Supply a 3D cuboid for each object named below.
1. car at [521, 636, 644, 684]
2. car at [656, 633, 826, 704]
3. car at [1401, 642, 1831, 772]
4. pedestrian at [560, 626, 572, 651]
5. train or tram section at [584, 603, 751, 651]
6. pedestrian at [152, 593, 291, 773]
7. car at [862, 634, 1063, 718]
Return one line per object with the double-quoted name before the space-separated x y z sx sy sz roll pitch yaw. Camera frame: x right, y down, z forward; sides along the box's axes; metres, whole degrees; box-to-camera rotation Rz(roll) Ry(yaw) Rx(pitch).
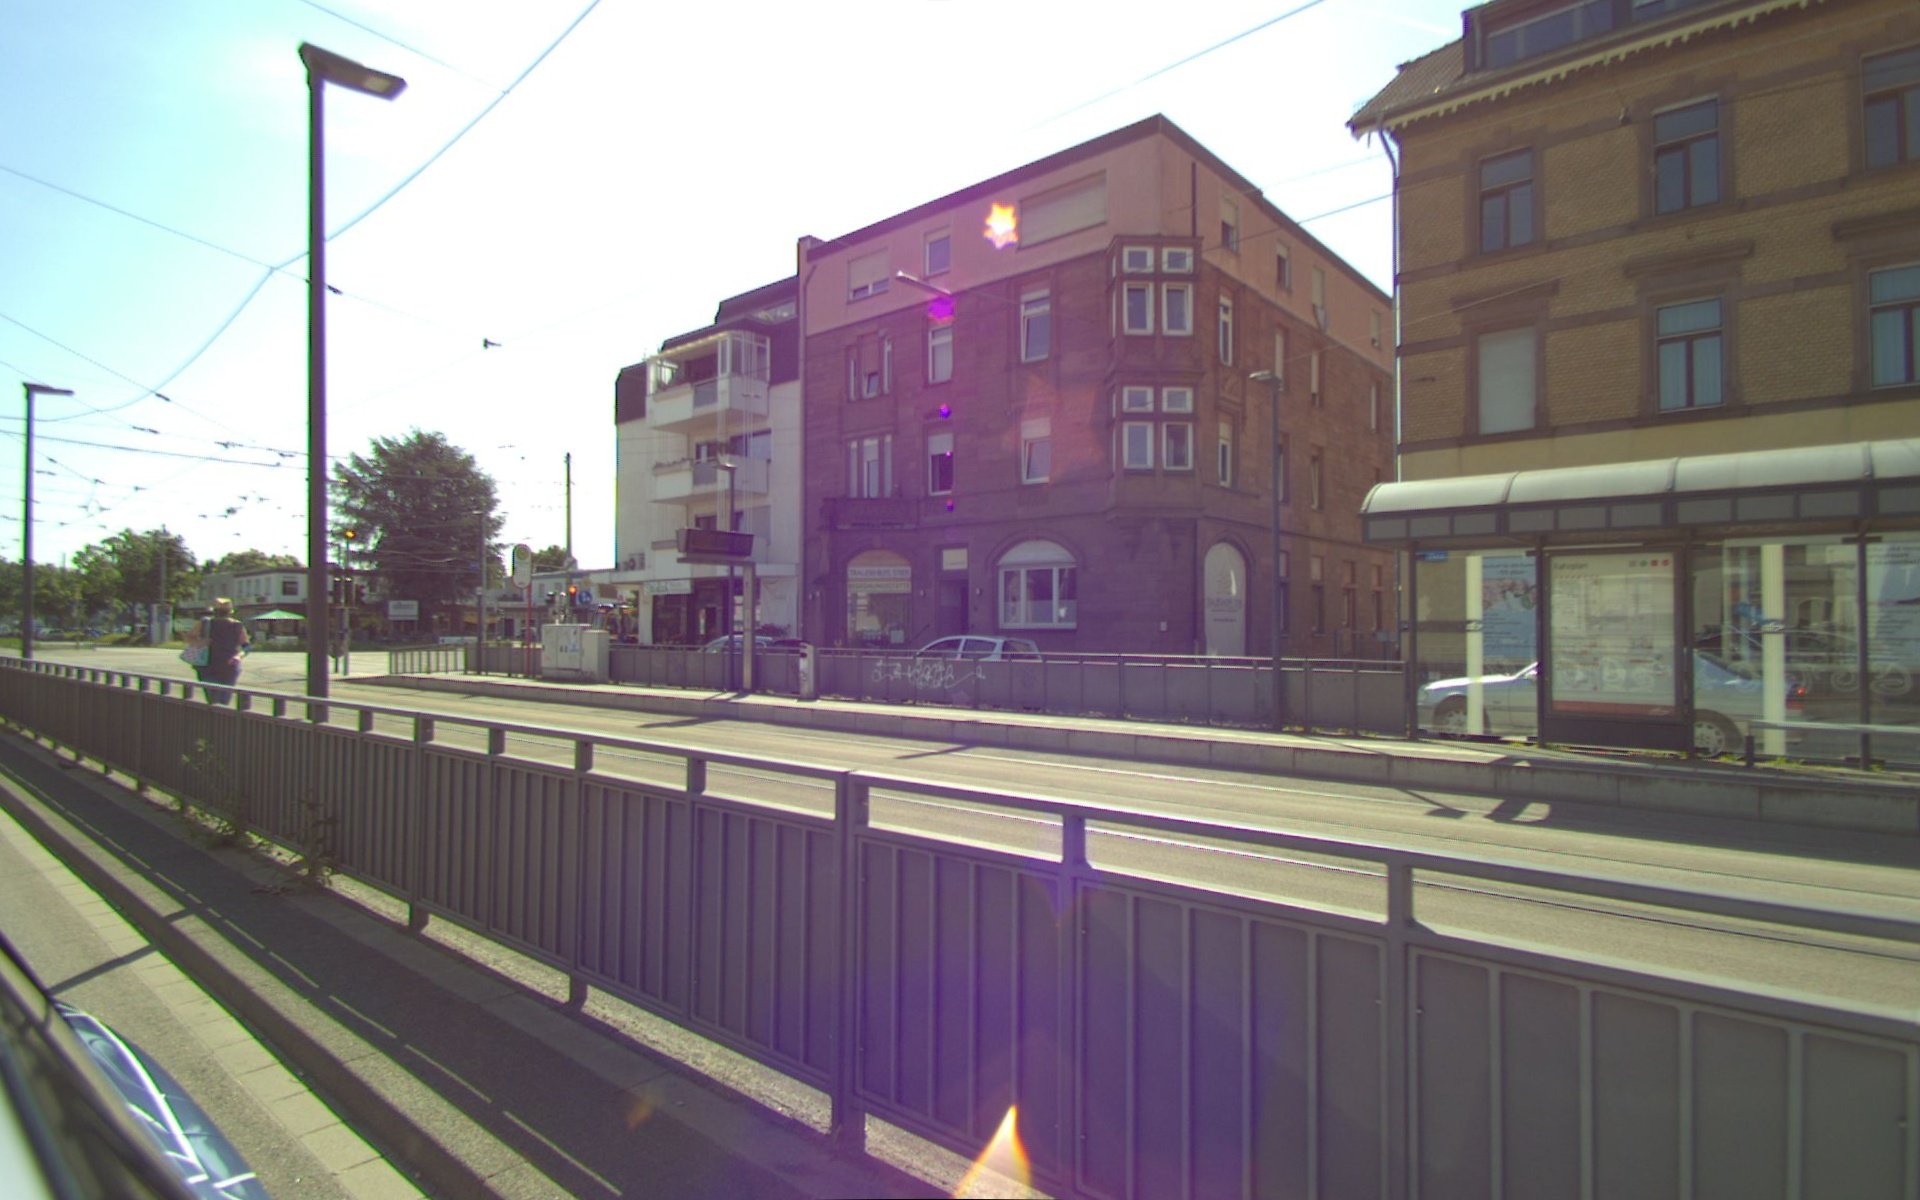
"car" -11.326 1.738 30.239 4.076 1.253 1.694 -1 0 40
"car" -5.422 1.623 24.721 4.469 1.527 1.694 -2 -1 40
"car" 8.371 1.267 13.236 4.518 1.373 1.615 -1 -3 40
"pedestrian" -29.593 2.896 75.986 0.602 1.918 0.604 0 -2 16
"train or tram section" -22.738 2.137 79.882 2.688 3.507 13.149 -1 -2 43
"pedestrian" -8.264 0.890 11.328 1.237 1.873 0.970 -2 -3 41
"car" -0.021 1.441 19.992 3.863 1.480 1.609 -2 -3 41
